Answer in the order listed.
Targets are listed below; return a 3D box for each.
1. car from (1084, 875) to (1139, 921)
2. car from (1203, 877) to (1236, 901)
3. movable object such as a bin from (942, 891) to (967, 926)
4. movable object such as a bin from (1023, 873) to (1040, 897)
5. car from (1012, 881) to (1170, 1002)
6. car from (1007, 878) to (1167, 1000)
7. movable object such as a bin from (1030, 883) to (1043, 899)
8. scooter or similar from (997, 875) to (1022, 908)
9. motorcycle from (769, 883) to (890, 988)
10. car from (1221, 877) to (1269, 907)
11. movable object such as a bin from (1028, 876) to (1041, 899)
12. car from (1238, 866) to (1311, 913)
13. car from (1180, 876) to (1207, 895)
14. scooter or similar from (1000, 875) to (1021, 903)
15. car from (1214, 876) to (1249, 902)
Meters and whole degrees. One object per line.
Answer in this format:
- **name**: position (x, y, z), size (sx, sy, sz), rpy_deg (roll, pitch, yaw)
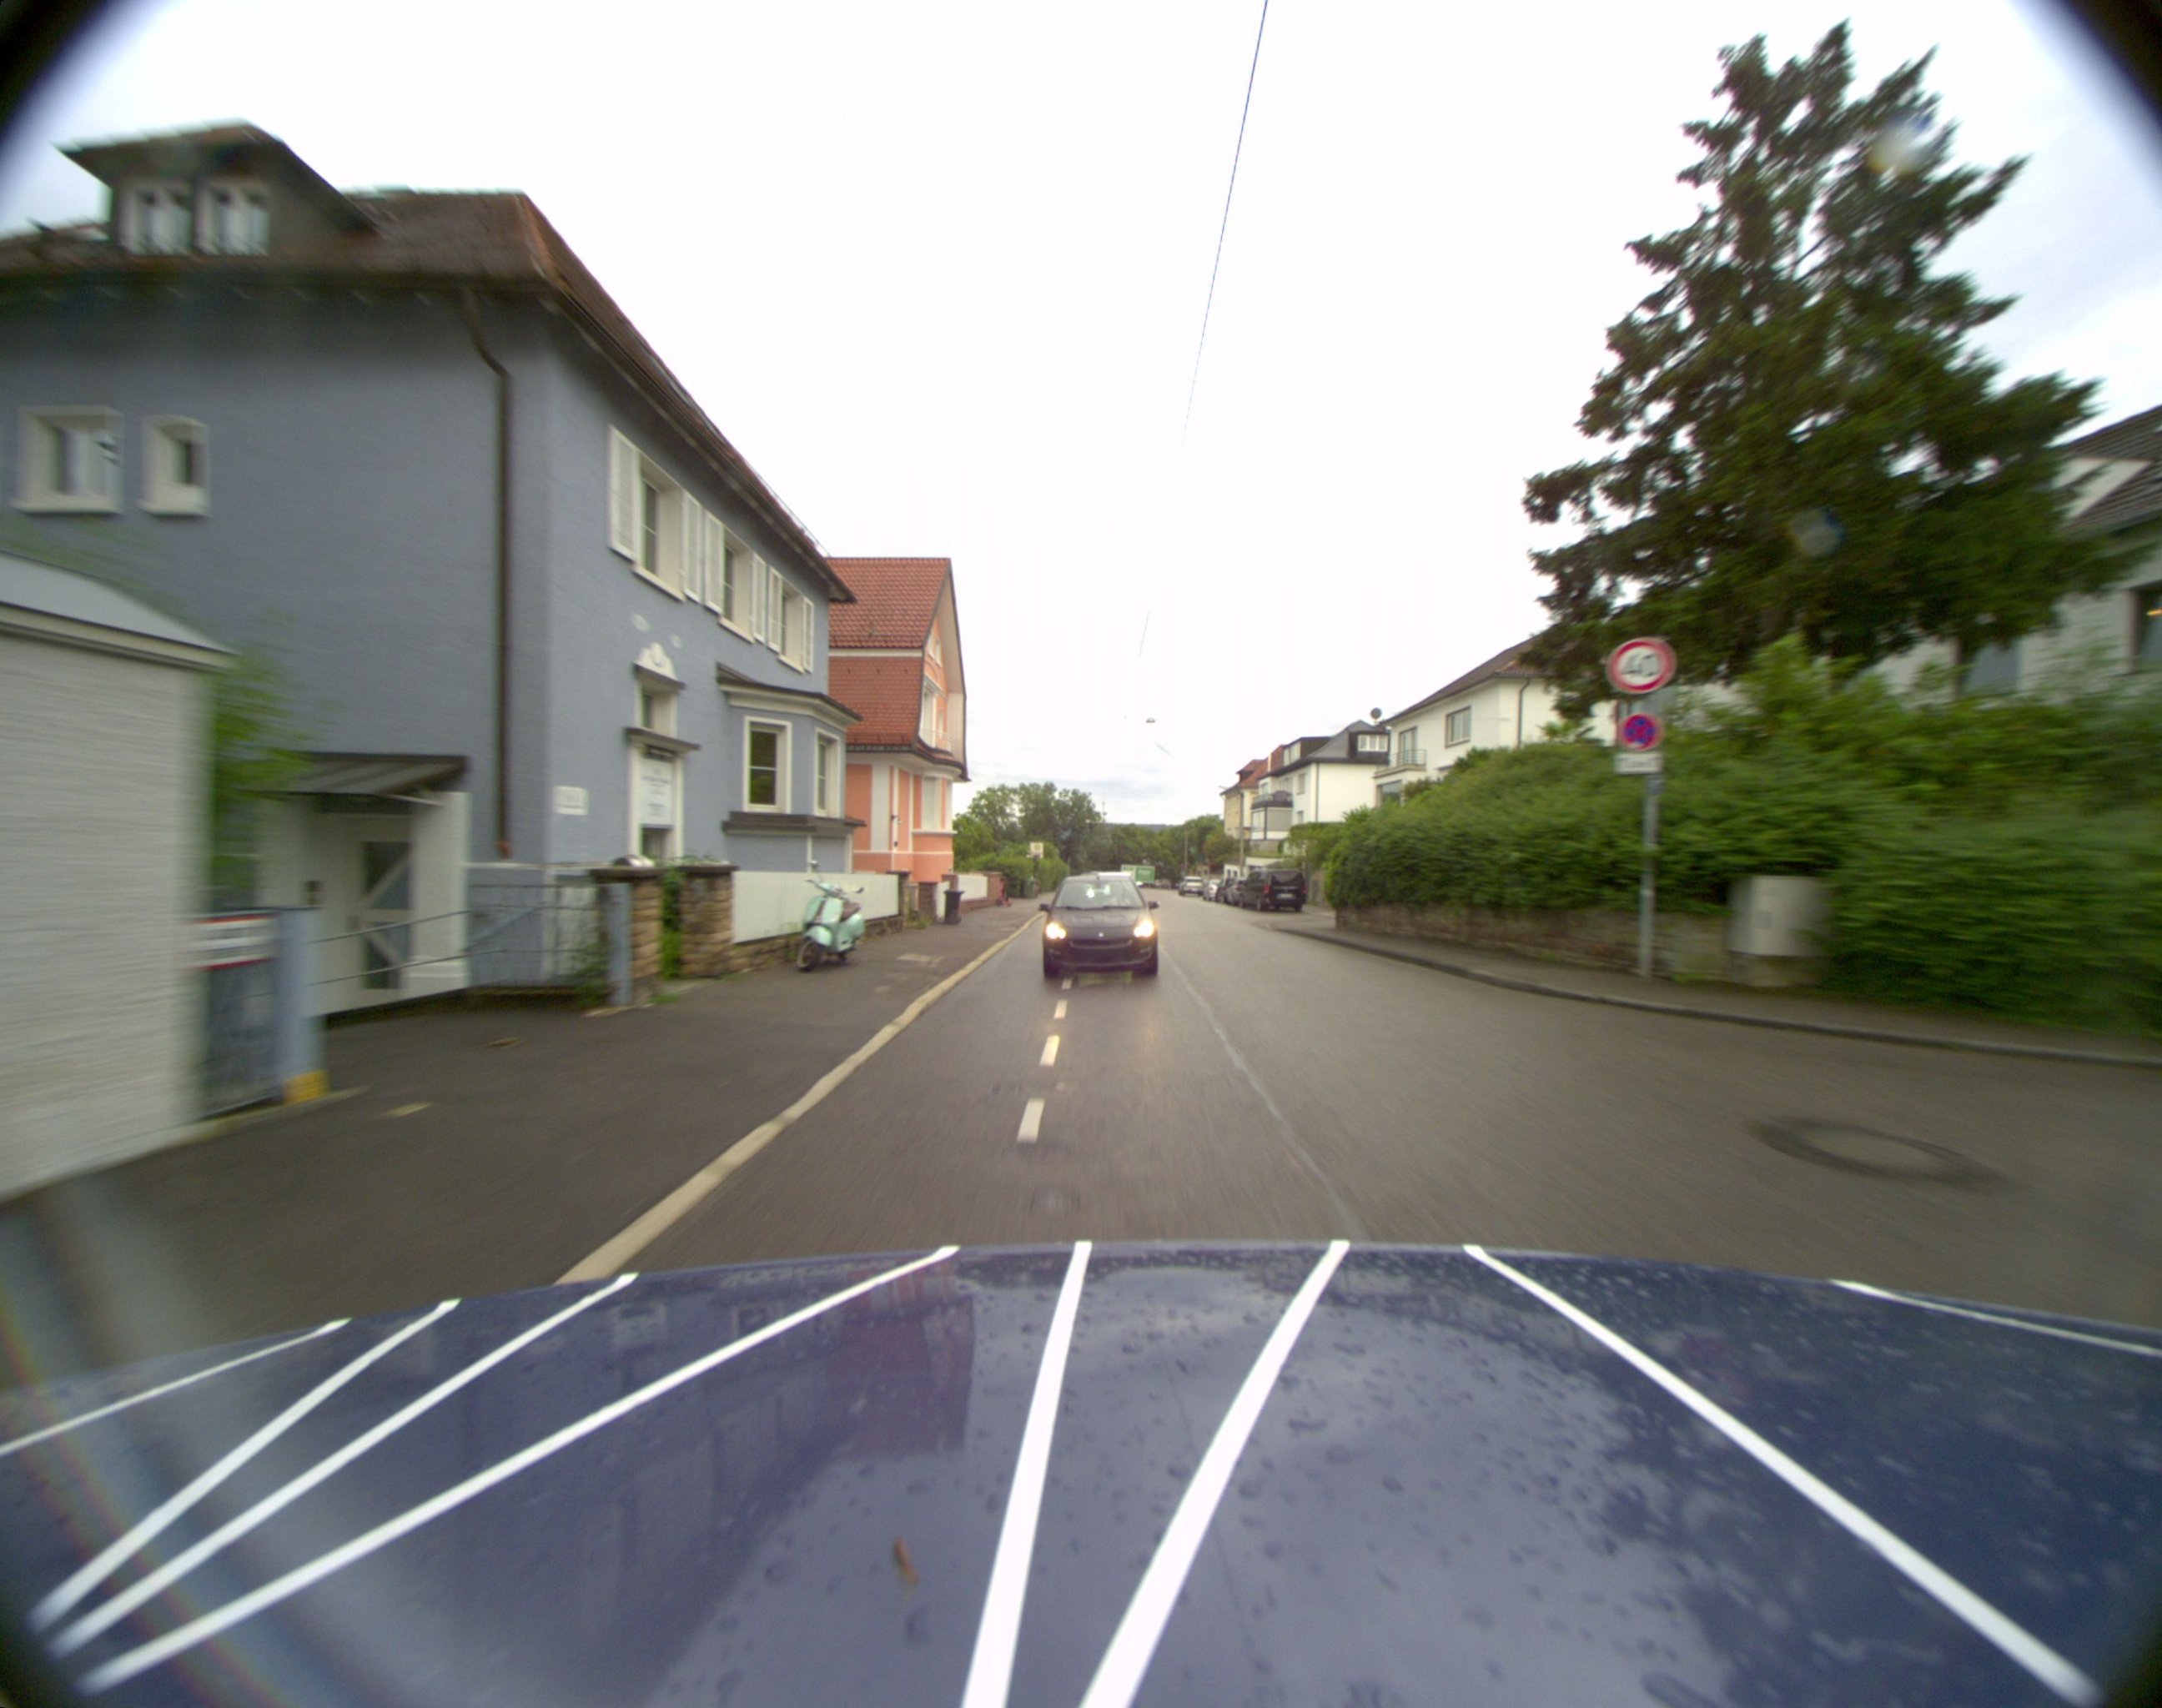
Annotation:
- **car**: position (1.122, 1.606, 28.824), size (1.928, 1.577, 4.001), rpy_deg (0, -1, 1)
- **car**: position (9.040, 2.300, 49.862), size (1.594, 1.482, 3.439), rpy_deg (-1, -2, 2)
- **movable object such as a bin**: position (-3.420, 1.472, 20.591), size (0.533, 0.913, 0.488), rpy_deg (3, -1, -1)
- **movable object such as a bin**: position (-2.649, 1.651, 40.533), size (0.726, 1.238, 0.917), rpy_deg (3, 0, 5)
- **car**: position (0.337, 1.147, 11.417), size (1.710, 1.413, 4.004), rpy_deg (0, -1, 10)
- **car**: position (0.283, 1.127, 11.417), size (1.695, 1.482, 3.944), rpy_deg (-2, -2, 11)
- **movable object such as a bin**: position (-2.460, 2.050, 42.005), size (0.613, 0.858, 0.590), rpy_deg (0, -1, 5)
- **scooter or similar**: position (-3.055, 1.589, 32.467), size (0.355, 1.394, 1.481), rpy_deg (-1, -1, 26)
- **motorcycle**: position (-3.476, 1.078, 10.761), size (0.694, 1.219, 2.154), rpy_deg (6, 0, 5)
- **car**: position (8.789, 2.018, 41.083), size (1.696, 1.482, 4.405), rpy_deg (-1, -2, 1)
- **movable object such as a bin**: position (-2.520, 1.798, 41.353), size (0.613, 1.238, 0.684), rpy_deg (0, -1, 5)
- **car**: position (8.786, 1.581, 34.886), size (1.999, 1.945, 4.775), rpy_deg (-1, -2, -1)
- **car**: position (9.267, 2.583, 62.663), size (1.868, 1.492, 4.002), rpy_deg (0, -1, 4)
- **scooter or similar**: position (-3.337, 1.640, 35.935), size (0.357, 1.265, 1.290), rpy_deg (0, 1, -37)
- **car**: position (8.977, 2.057, 45.390), size (1.521, 1.482, 2.895), rpy_deg (-1, -2, 1)
